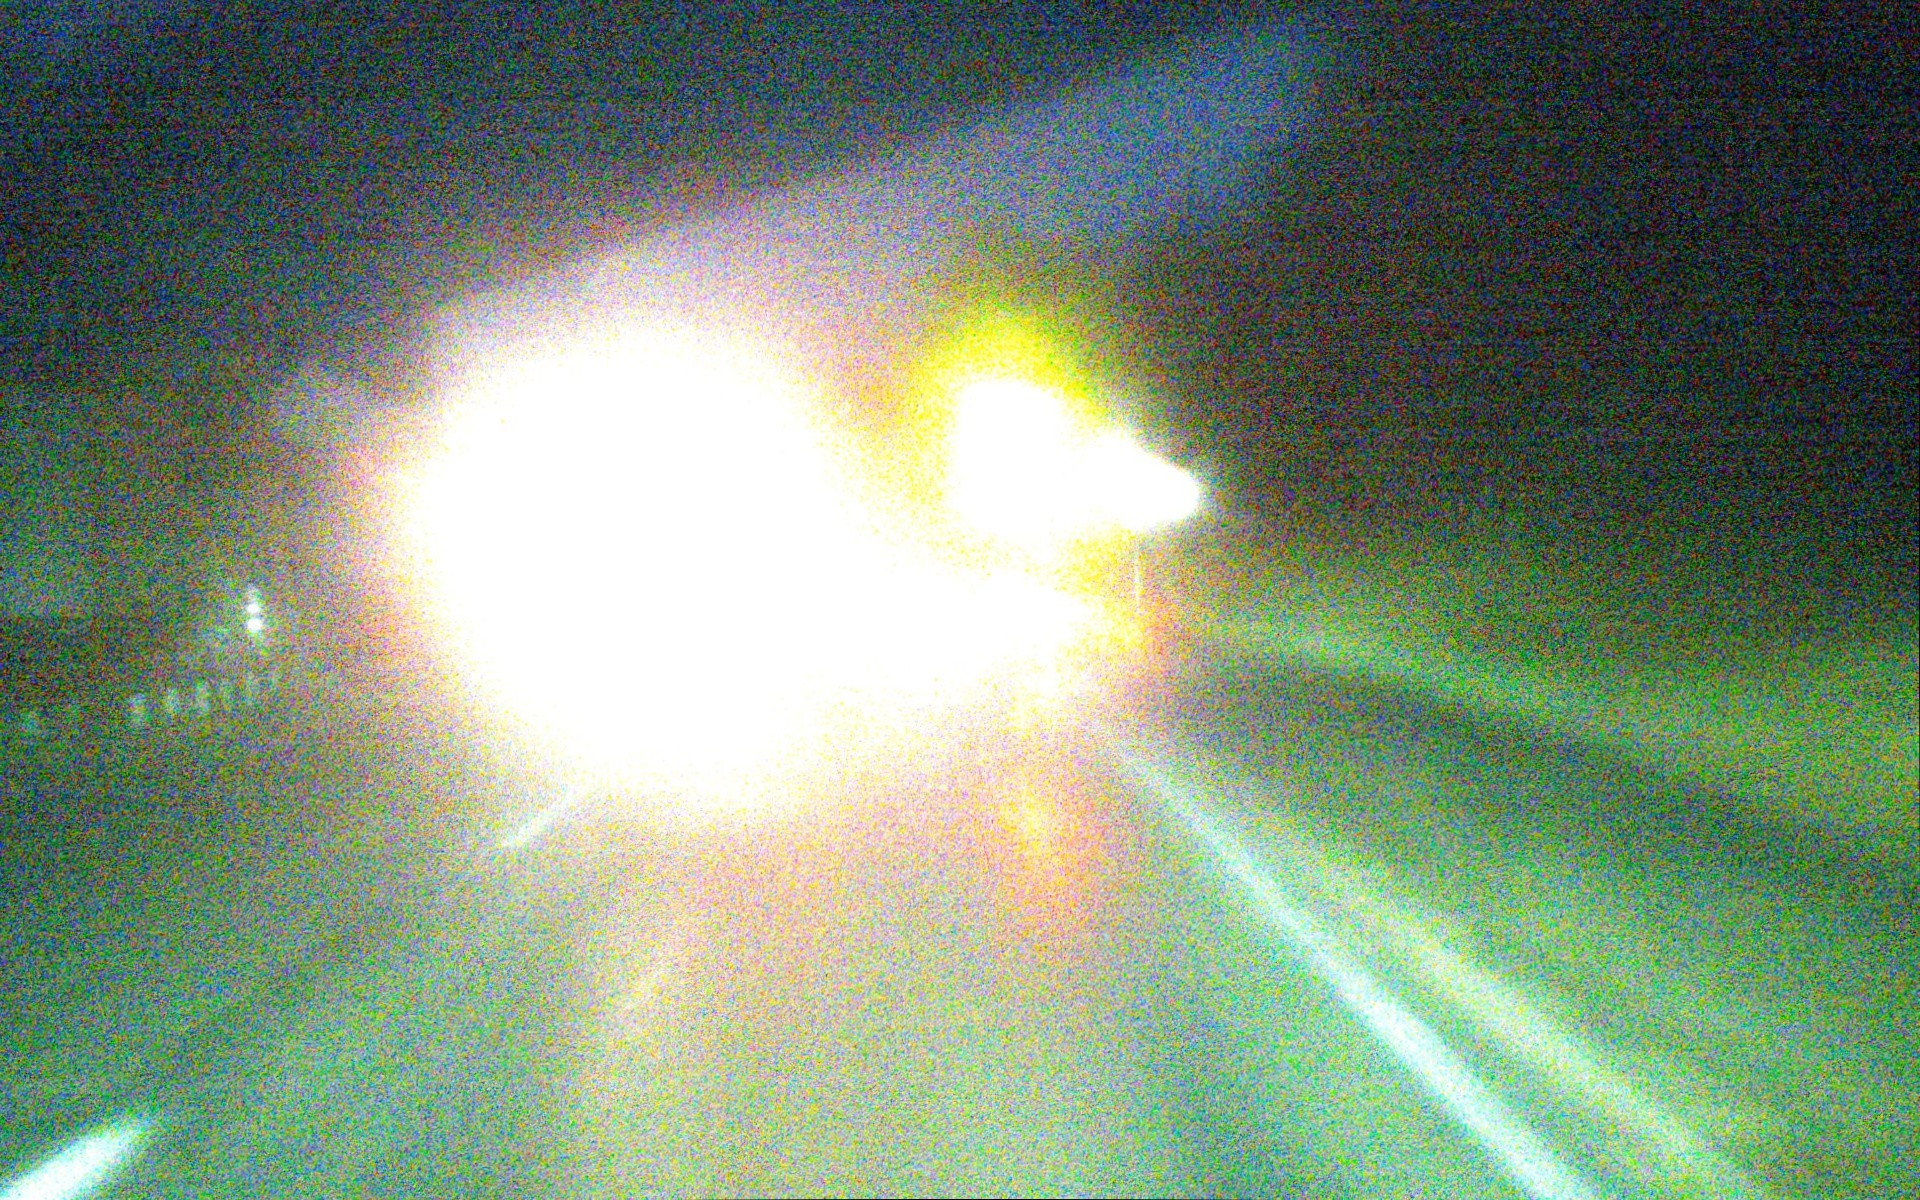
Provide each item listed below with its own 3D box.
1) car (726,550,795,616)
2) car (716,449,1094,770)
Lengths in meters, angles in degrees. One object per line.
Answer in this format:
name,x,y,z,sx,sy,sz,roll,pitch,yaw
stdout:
car,-6.107,-0.513,104.780,1.993,1.908,4.001,2,0,-4
car,-0.442,0.002,27.980,2.715,2.299,6.101,1,1,-1
